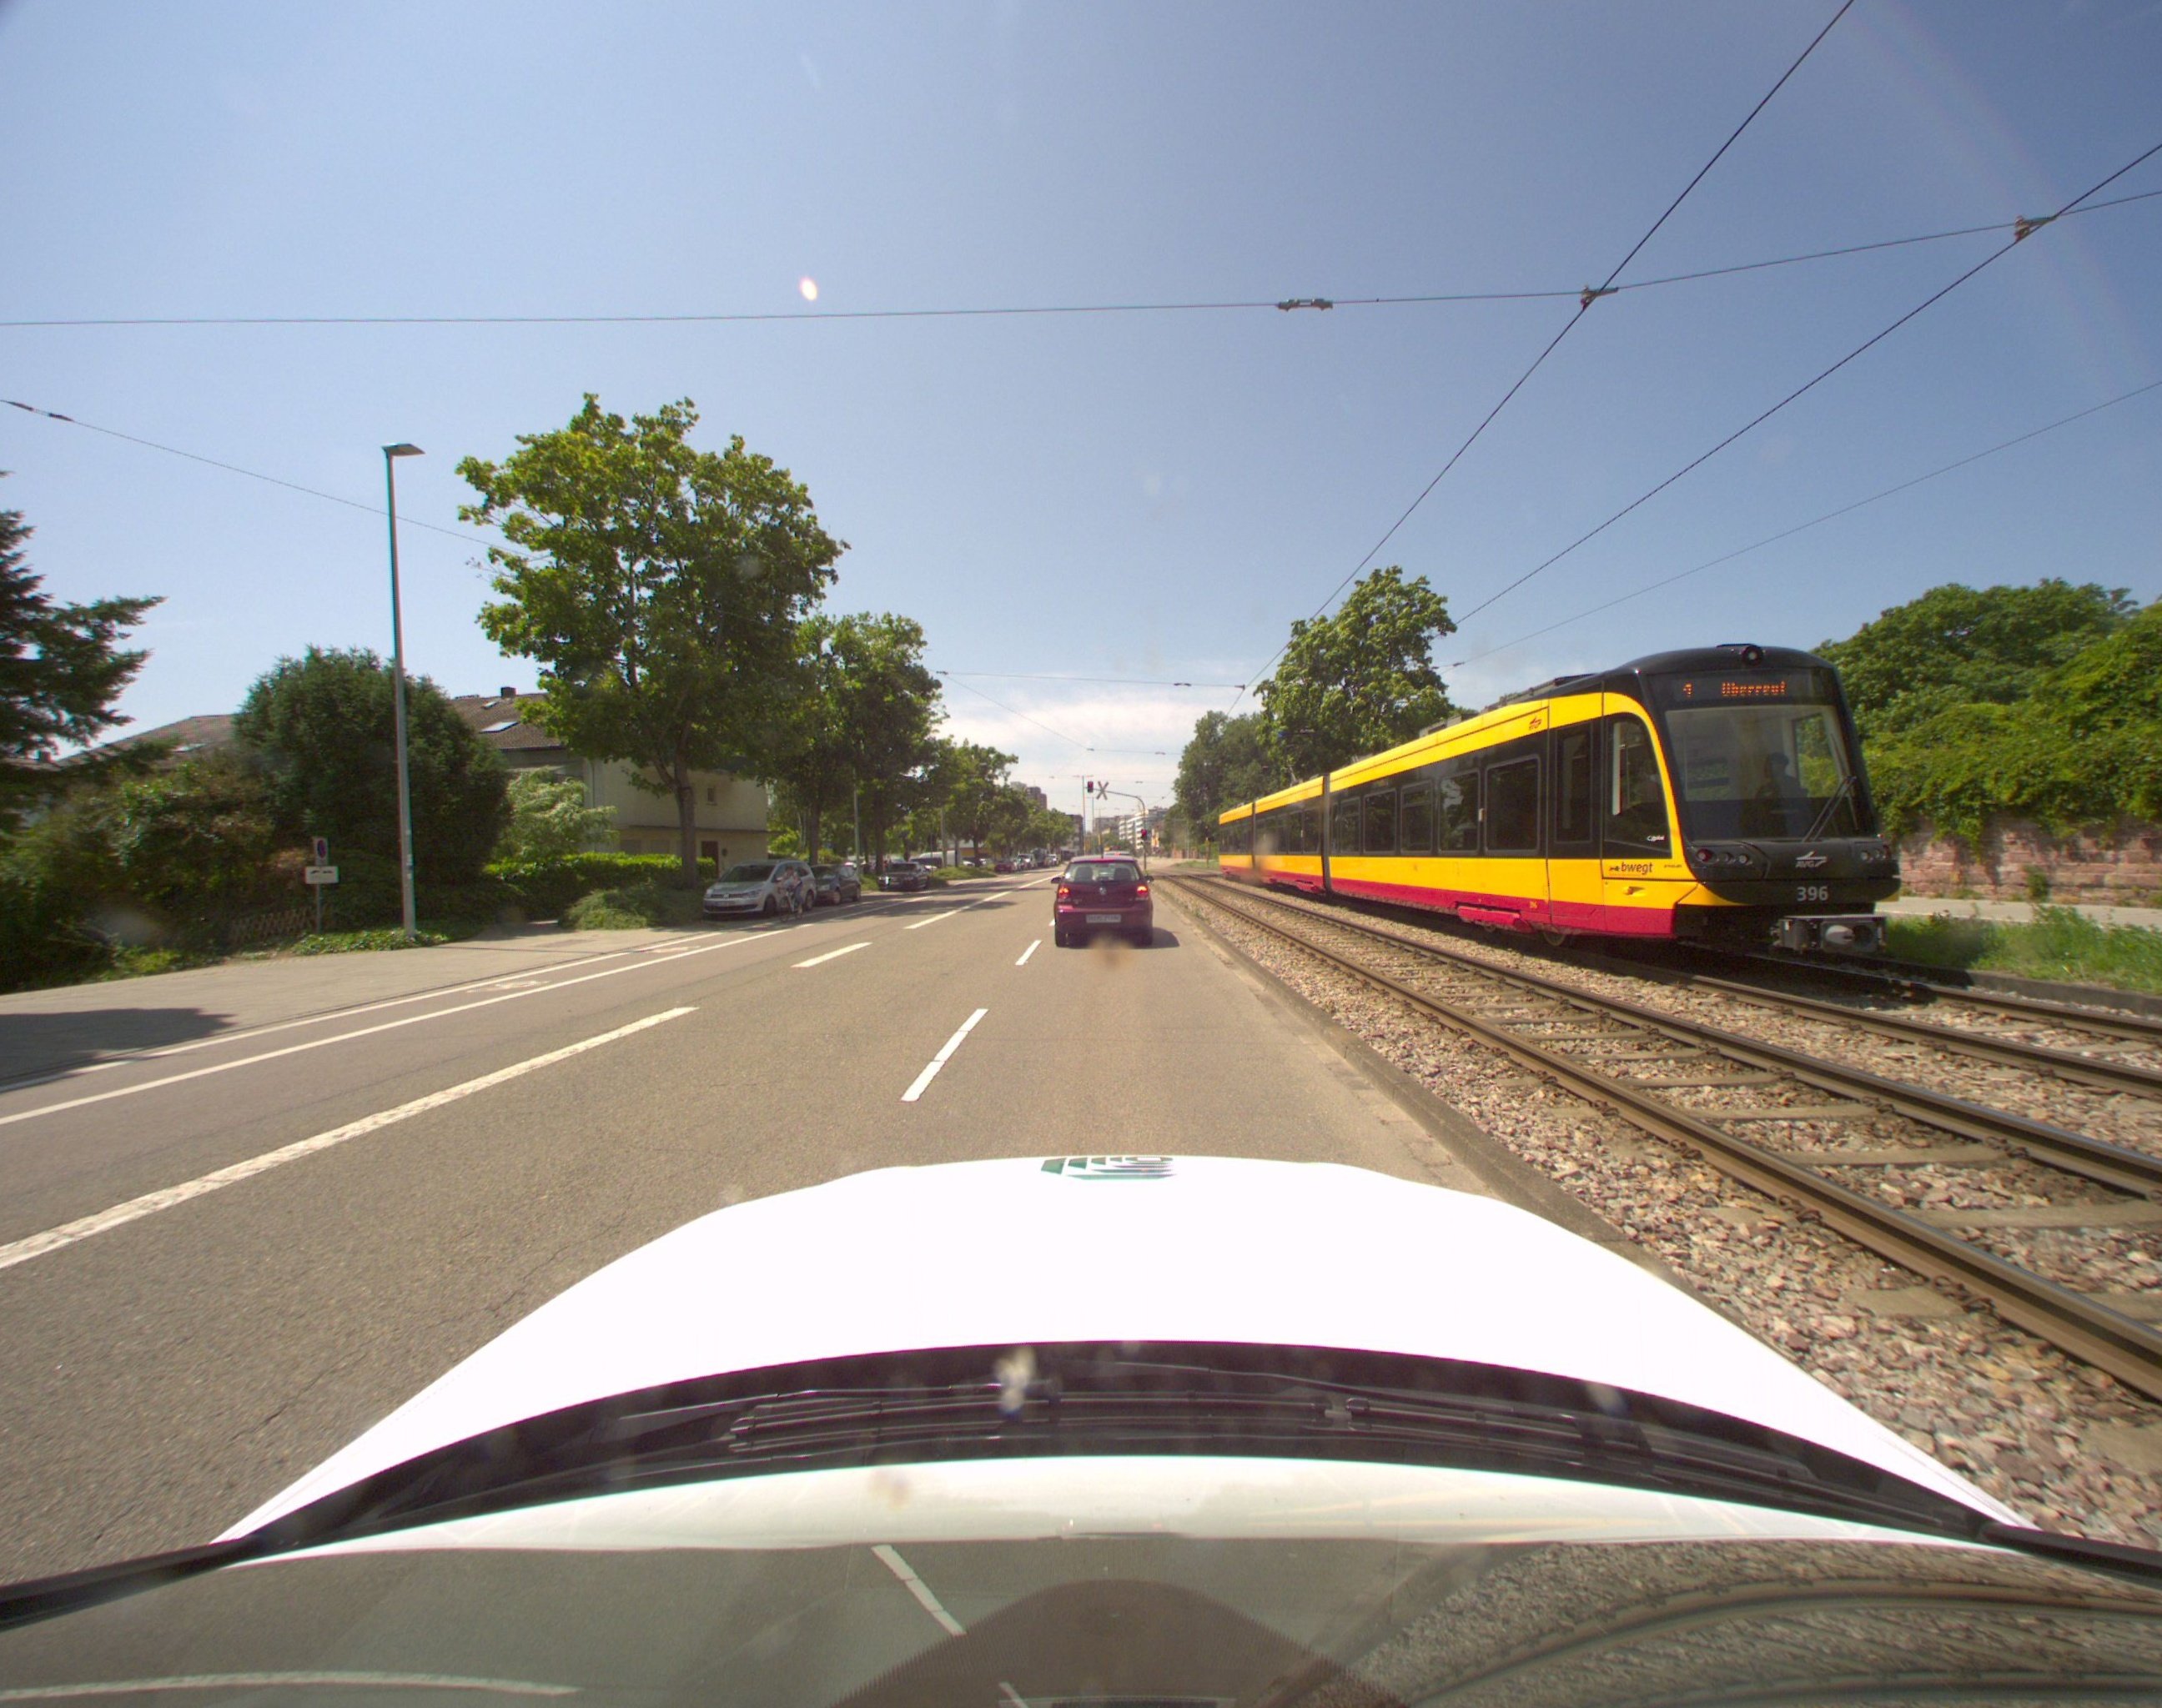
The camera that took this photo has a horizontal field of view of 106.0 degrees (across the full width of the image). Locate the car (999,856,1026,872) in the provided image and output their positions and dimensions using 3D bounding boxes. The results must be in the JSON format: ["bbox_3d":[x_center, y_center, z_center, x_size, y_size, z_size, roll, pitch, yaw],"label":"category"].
[{"bbox_3d":[-7.263,1.052,86.250,1.965,1.601,4.566,0,-1,7],"label":"car"}]

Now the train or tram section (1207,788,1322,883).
[{"bbox_3d":[8.480,-0.744,39.649,3.017,3.798,12.766,-2,0,2],"label":"train or tram section"}]

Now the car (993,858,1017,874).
[{"bbox_3d":[-7.387,1.167,79.698,1.655,1.497,4.004,0,-1,4],"label":"car"}]

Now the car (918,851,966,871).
[{"bbox_3d":[-16.471,0.834,96.715,5.076,2.244,2.380,0,-1,3],"label":"car"}]

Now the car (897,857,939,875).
[{"bbox_3d":[-17.221,1.235,86.066,3.973,1.746,1.999,-2,0,0],"label":"car"}]

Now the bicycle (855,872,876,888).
[{"bbox_3d":[-13.859,1.669,52.334,0.697,1.030,1.831,0,-1,5],"label":"bicycle"}]

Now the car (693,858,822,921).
[{"bbox_3d":[-9.721,0.991,24.954,1.866,1.664,4.783,-1,0,2],"label":"car"}]

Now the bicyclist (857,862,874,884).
[{"bbox_3d":[-13.844,1.226,52.378,0.805,1.374,0.829,0,-1,5],"label":"bicyclist"}]

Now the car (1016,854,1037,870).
[{"bbox_3d":[-6.465,0.960,96.478,1.774,1.882,4.792,0,-1,5],"label":"car"}]

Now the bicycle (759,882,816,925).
[{"bbox_3d":[-7.925,1.324,22.088,0.699,0.951,2.242,-4,1,-1],"label":"bicycle"}]

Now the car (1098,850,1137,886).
[{"bbox_3d":[1.742,0.660,39.665,1.770,1.647,4.001,0,0,1],"label":"car"}]

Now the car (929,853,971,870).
[{"bbox_3d":[-17.348,0.963,107.720,5.076,2.244,2.380,0,-1,3],"label":"car"}]

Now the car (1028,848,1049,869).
[{"bbox_3d":[-5.680,0.659,109.514,2.352,2.692,5.311,0,-1,3],"label":"car"}]

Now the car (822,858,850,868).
[{"bbox_3d":[-39.823,1.443,132.514,4.003,1.617,1.818,0,-1,3],"label":"car"}]

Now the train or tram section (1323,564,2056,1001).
[{"bbox_3d":[7.357,-0.637,13.812,3.016,3.798,13.097,-2,0,2],"label":"train or tram section"}]

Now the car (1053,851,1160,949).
[{"bbox_3d":[0.442,0.715,14.753,1.666,1.521,4.001,0,0,1],"label":"car"}]

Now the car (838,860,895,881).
[{"bbox_3d":[-18.432,1.386,70.241,4.329,1.585,1.912,-2,0,-1],"label":"car"}]

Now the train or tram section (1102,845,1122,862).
[{"bbox_3d":[6.575,-0.181,176.013,2.736,3.609,12.848,0,0,-5],"label":"train or tram section"}]

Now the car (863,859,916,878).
[{"bbox_3d":[-17.682,1.304,75.323,4.319,1.585,1.917,-2,0,7],"label":"car"}]

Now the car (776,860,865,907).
[{"bbox_3d":[-9.493,1.040,29.987,1.812,1.564,4.182,0,0,2],"label":"car"}]

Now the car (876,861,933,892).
[{"bbox_3d":[-9.018,1.133,41.959,1.812,1.476,4.450,0,0,2],"label":"car"}]

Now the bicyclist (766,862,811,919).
[{"bbox_3d":[-7.931,0.975,22.141,0.733,1.431,1.124,-5,0,-1],"label":"bicyclist"}]

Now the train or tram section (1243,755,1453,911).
[{"bbox_3d":[7.951,-0.522,26.834,3.016,3.798,13.097,-2,0,2],"label":"train or tram section"}]
